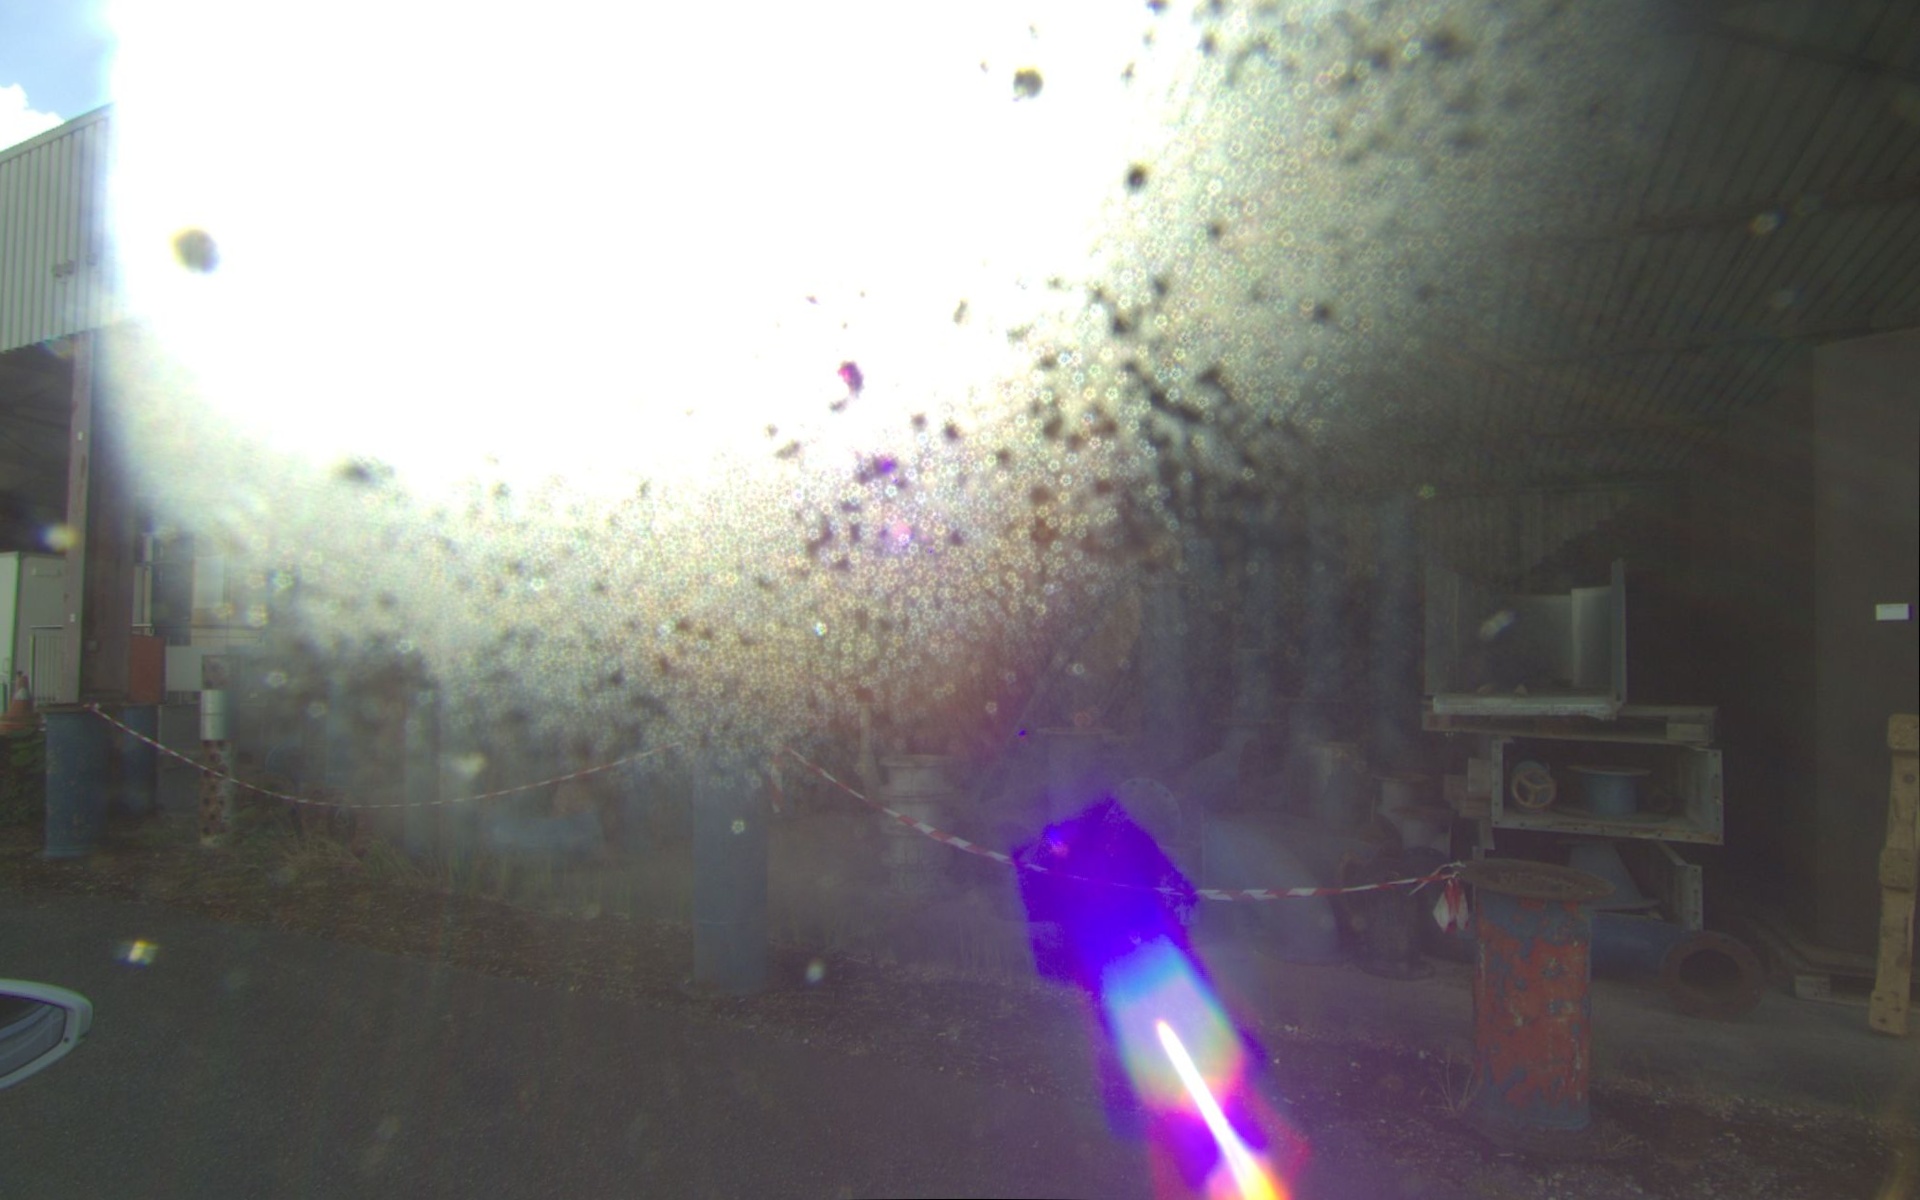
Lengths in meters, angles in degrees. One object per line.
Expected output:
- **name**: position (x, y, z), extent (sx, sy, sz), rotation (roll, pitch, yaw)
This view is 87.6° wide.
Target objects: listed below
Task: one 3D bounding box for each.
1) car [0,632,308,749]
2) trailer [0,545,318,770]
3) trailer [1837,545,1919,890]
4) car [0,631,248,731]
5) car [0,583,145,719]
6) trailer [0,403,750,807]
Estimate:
- **car**: position (-12.058, 1.186, 14.287), extent (1.833, 1.451, 4.349), rotation (-1, -2, 22)
- **trailer**: position (-10.395, 0.650, 11.824), extent (1.661, 2.365, 4.542), rotation (0, -2, 26)
- **trailer**: position (6.090, 0.643, 4.604), extent (2.015, 2.022, 4.815), rotation (-1, -2, 28)
- **car**: position (-14.388, 1.258, 16.399), extent (1.820, 1.472, 4.109), rotation (-1, -2, 25)
- **car**: position (-17.539, 0.869, 17.099), extent (2.050, 2.326, 5.220), rotation (-1, -3, 24)
- **trailer**: position (-7.035, 0.205, 13.136), extent (2.632, 3.337, 10.295), rotation (0, -2, 26)
